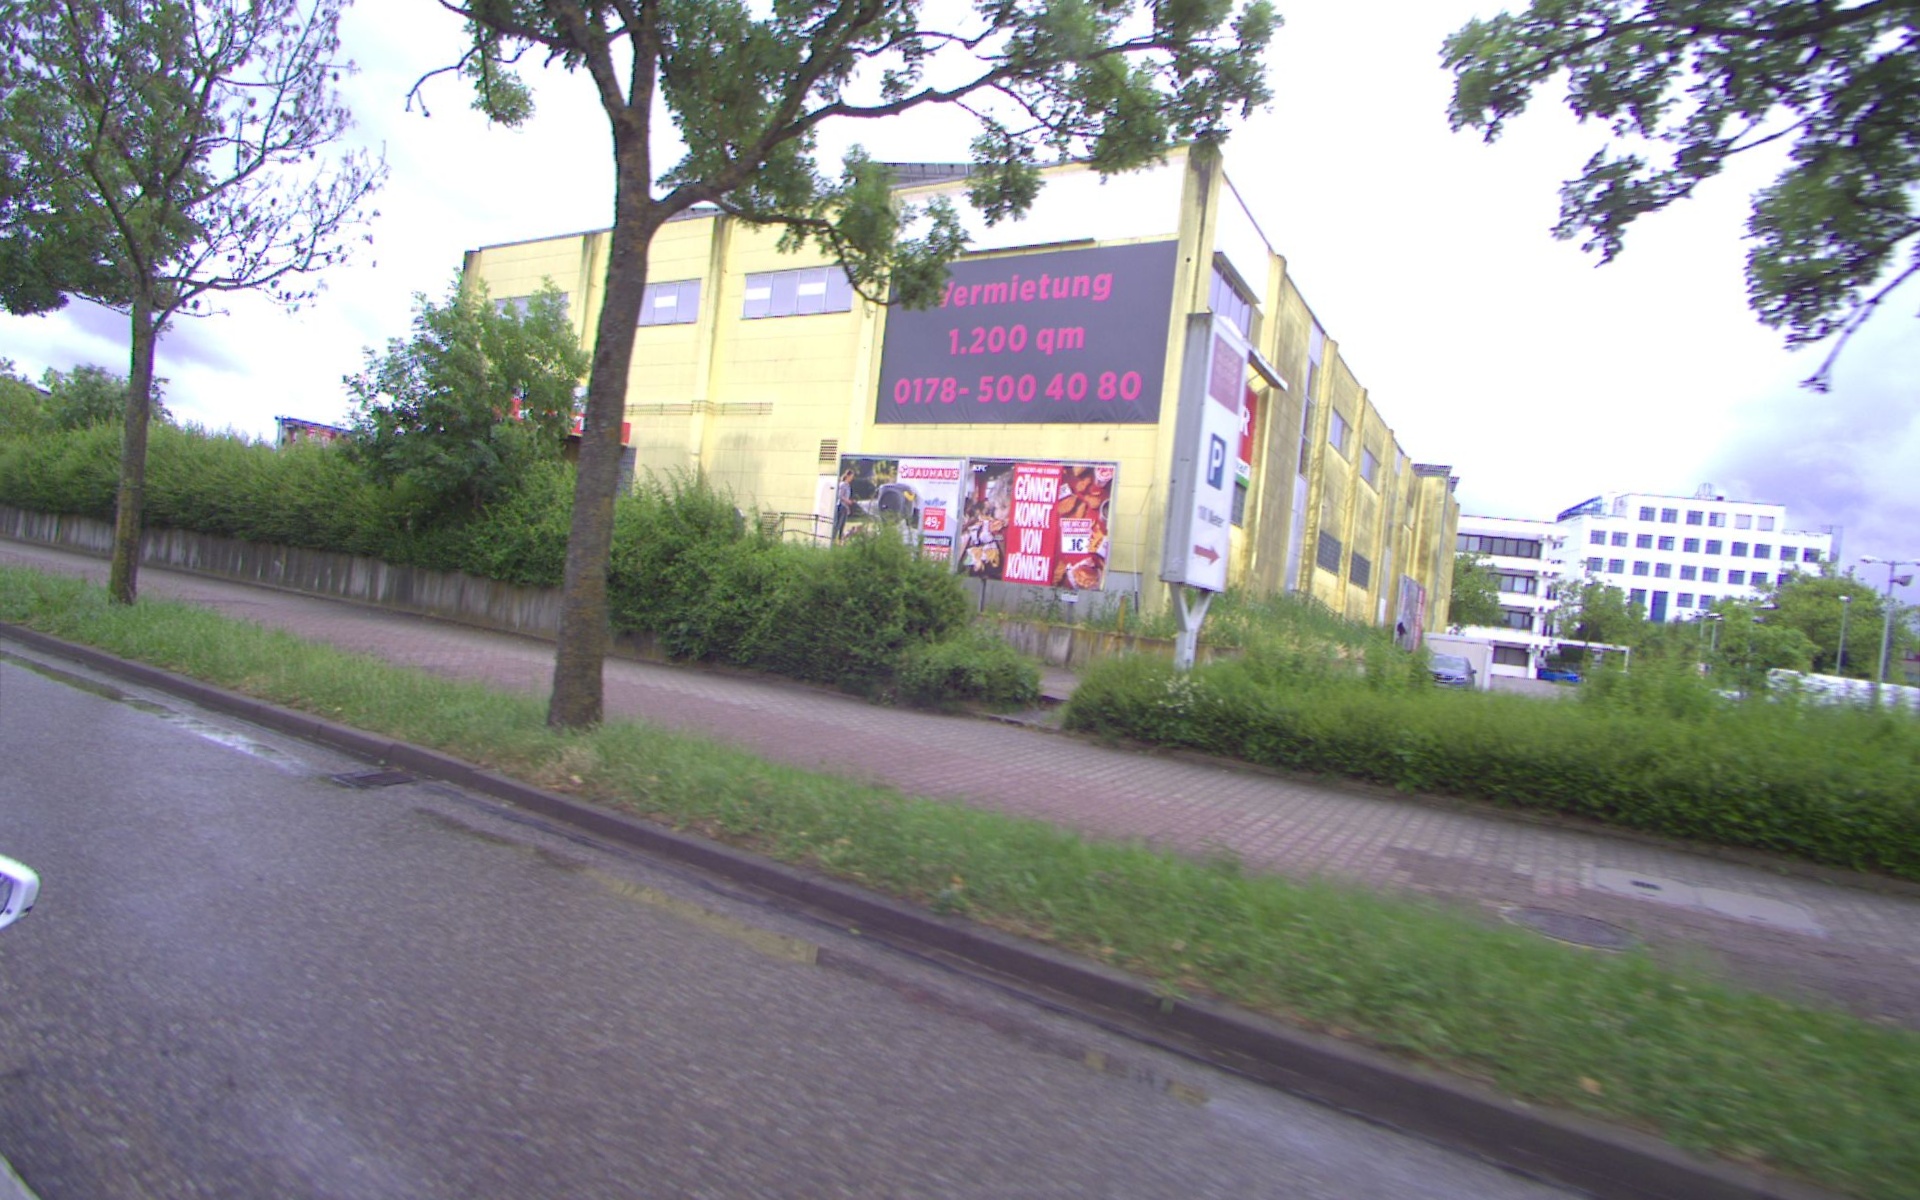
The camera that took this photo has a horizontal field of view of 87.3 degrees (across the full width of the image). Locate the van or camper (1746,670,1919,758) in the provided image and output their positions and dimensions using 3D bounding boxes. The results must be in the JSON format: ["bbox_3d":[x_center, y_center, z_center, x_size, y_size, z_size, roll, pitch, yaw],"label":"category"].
[{"bbox_3d":[29.688,3.802,33.611,4.941,2.282,2.152,6,0,32],"label":"van or camper"}]

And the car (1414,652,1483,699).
[{"bbox_3d":[18.809,2.917,38.629,1.879,1.459,3.993,6,-1,31],"label":"car"}]
